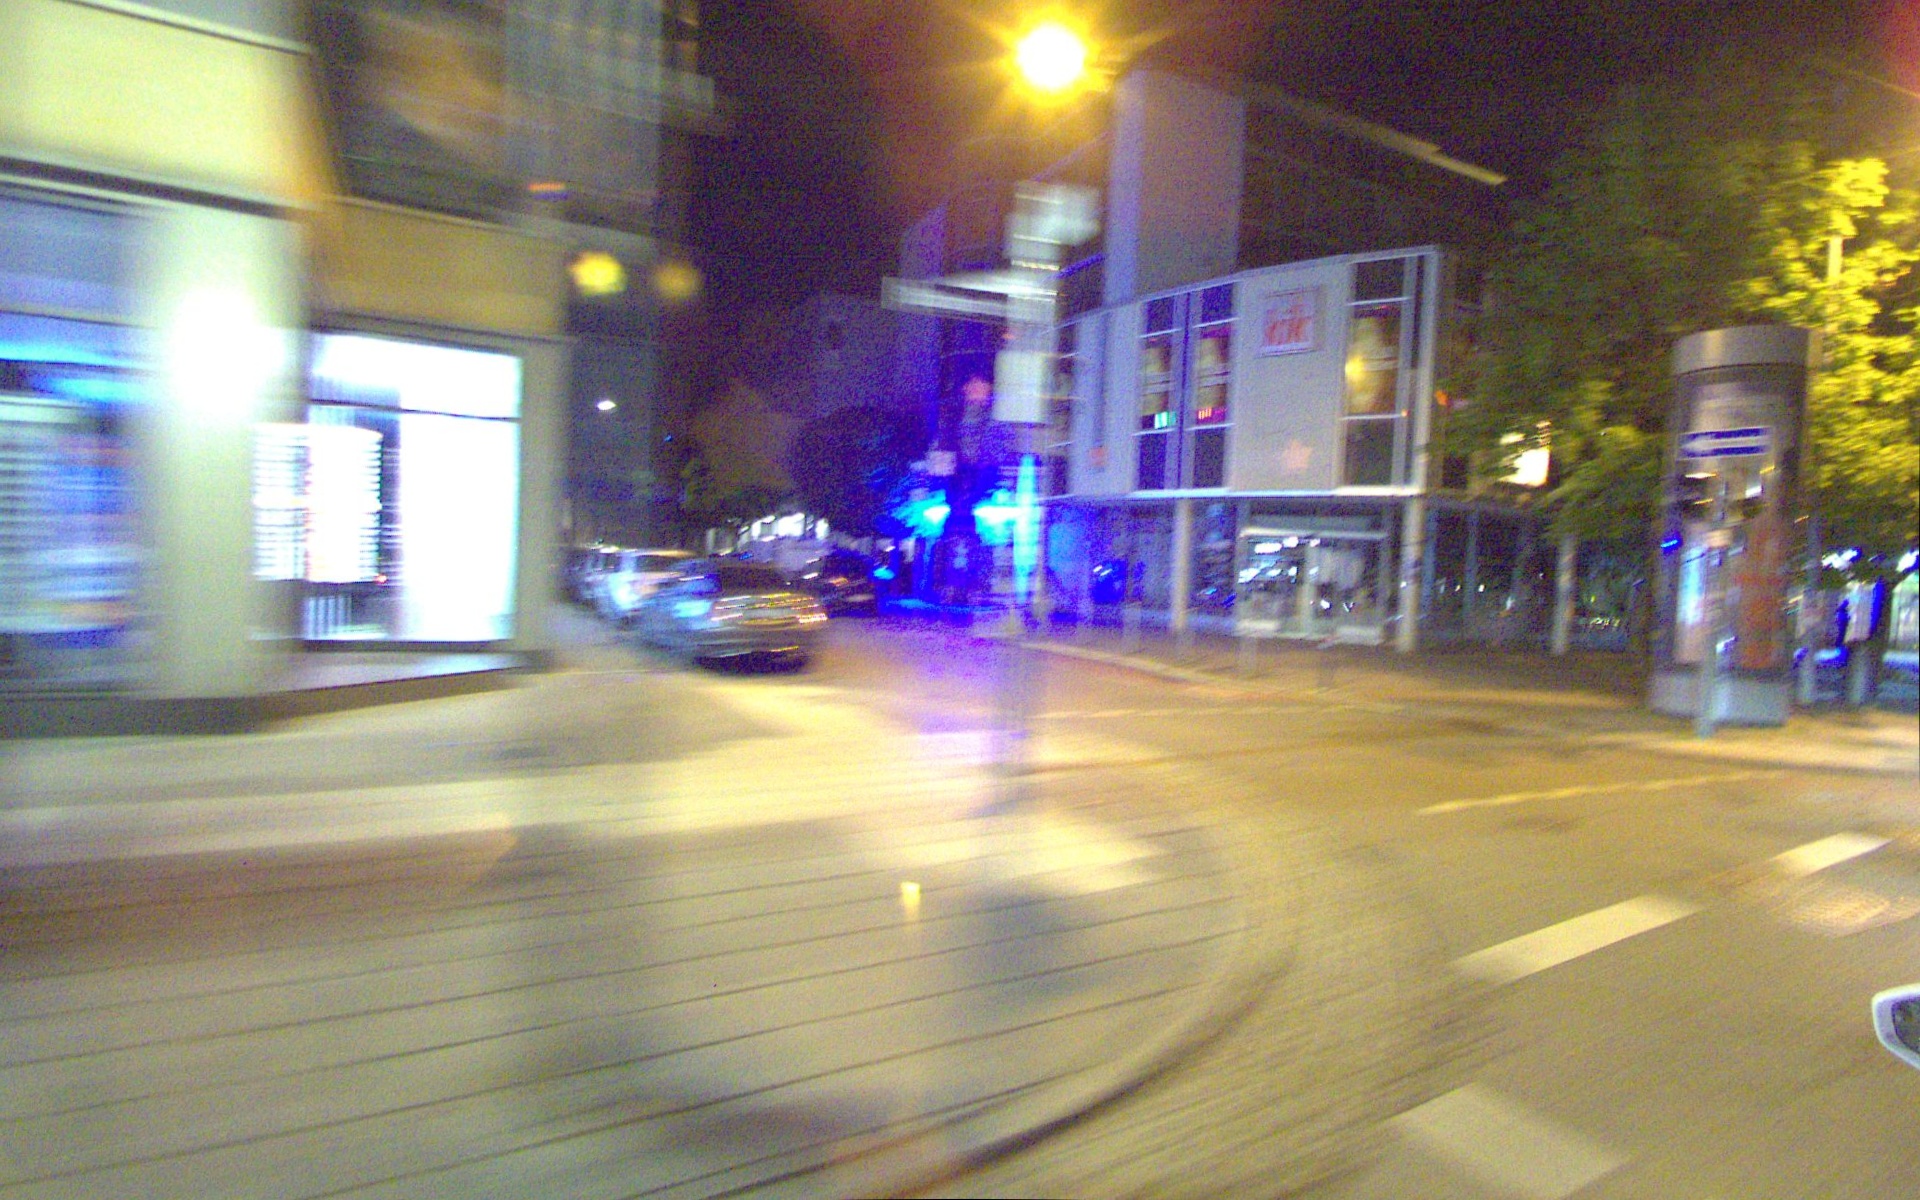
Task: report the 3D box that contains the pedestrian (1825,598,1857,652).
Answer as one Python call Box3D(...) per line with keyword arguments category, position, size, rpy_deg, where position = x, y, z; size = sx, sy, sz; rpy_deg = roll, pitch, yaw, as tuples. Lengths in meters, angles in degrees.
Box3D(category="pedestrian", position=(27.626, 0.772, 31.482), size=(0.624, 1.658, 0.476), rpy_deg=(2, 2, -27))

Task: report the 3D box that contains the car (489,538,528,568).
Box3D(category="car", position=(-26.102, -2.732, 57.988), size=(1.781, 1.543, 3.882), rpy_deg=(2, 2, -28))

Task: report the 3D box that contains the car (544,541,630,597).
Box3D(category="car", position=(-10.619, -0.916, 28.444), size=(1.781, 1.414, 3.882), rpy_deg=(2, 2, -28))

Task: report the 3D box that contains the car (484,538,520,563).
Box3D(category="car", position=(-28.351, -3.077, 62.134), size=(1.781, 1.414, 3.882), rpy_deg=(2, 2, -28))

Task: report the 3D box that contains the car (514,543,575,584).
Box3D(category="car", position=(-15.882, -1.424, 38.333), size=(1.781, 1.414, 3.882), rpy_deg=(2, 2, -28))

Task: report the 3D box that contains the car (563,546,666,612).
Box3D(category="car", position=(-8.486, -0.552, 24.480), size=(1.781, 1.414, 3.882), rpy_deg=(2, 2, -28))

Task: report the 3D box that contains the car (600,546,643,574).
Box3D(category="car", position=(-19.359, -2.286, 57.295), size=(1.705, 1.437, 3.881), rpy_deg=(2, 2, -28))

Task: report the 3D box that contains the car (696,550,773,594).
Box3D(category="car", position=(-8.107, -1.024, 35.918), size=(1.705, 1.437, 3.881), rpy_deg=(2, 2, -28))

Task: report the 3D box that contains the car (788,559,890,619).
Box3D(category="car", position=(-3.224, -0.308, 26.344), size=(1.639, 1.403, 3.078), rpy_deg=(2, 2, -28))

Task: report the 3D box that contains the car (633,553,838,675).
Box3D(category="car", position=(-3.368, 0.108, 14.389), size=(1.781, 1.416, 4.310), rpy_deg=(2, 2, -28))

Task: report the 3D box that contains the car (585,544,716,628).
Box3D(category="car", position=(-6.301, -0.331, 20.146), size=(1.781, 1.456, 4.118), rpy_deg=(2, 2, -28))

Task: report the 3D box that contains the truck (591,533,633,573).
Box3D(category="truck", position=(-21.329, -2.899, 61.474), size=(1.835, 2.268, 3.965), rpy_deg=(2, 2, -28))

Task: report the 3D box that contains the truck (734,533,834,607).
Box3D(category="truck", position=(-5.478, -0.949, 30.913), size=(1.835, 2.050, 4.012), rpy_deg=(2, 2, -28))
